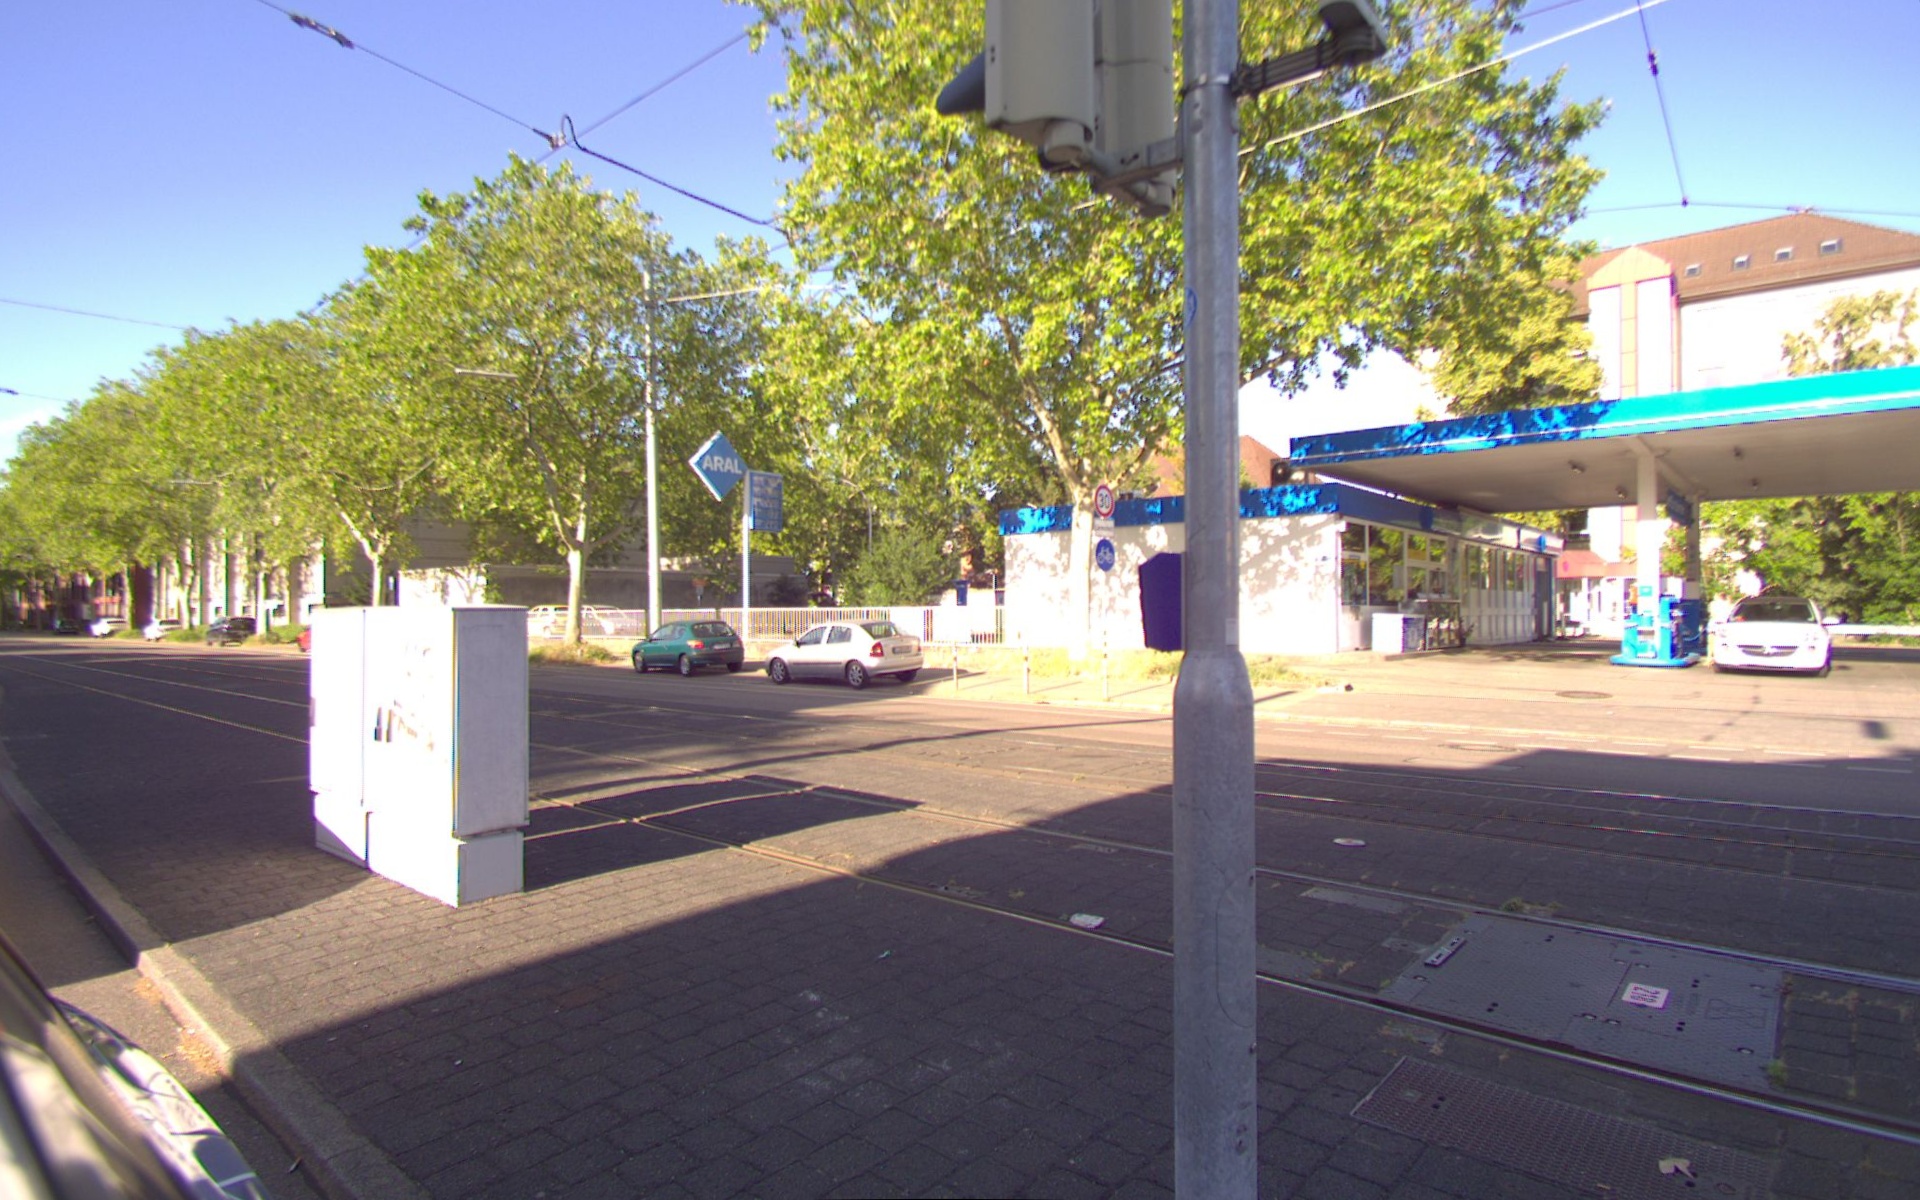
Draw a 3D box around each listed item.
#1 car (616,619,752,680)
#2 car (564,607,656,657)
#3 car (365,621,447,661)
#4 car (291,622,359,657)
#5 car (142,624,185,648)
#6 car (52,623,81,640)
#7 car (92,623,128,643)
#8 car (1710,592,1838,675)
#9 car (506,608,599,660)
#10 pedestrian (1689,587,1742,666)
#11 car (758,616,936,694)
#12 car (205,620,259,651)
[{"bbox_3d":[-7.430,1.277,27.081,3.858,1.408,1.722,-1,1,43],"label":"car"},{"bbox_3d":[-15.142,1.366,43.696,3.996,2.029,1.974,-1,-1,39],"label":"car"},{"bbox_3d":[-21.981,1.590,40.097,3.858,1.468,1.735,-1,0,43],"label":"car"},{"bbox_3d":[-28.908,1.776,46.051,3.858,1.440,1.695,-1,0,43],"label":"car"},{"bbox_3d":[-53.634,2.401,68.128,3.858,1.495,1.735,-1,0,43],"label":"car"},{"bbox_3d":[-84.868,3.014,96.123,3.858,1.495,1.735,-1,0,43],"label":"car"},{"bbox_3d":[-66.922,2.581,79.648,3.858,1.495,1.735,-1,0,43],"label":"car"},{"bbox_3d":[15.944,0.616,19.787,1.793,1.453,3.946,-1,-1,40],"label":"car"},{"bbox_3d":[-17.041,1.396,42.268,3.996,2.029,1.974,-1,-1,39],"label":"car"},{"bbox_3d":[16.144,0.557,21.625,0.813,1.642,0.637,-2,-2,44],"label":"pedestrian"},{"bbox_3d":[-2.570,1.169,22.601,3.857,1.497,1.823,-1,1,42],"label":"car"},{"bbox_3d":[-40.672,1.957,56.492,3.858,1.557,1.735,-1,0,43],"label":"car"}]
